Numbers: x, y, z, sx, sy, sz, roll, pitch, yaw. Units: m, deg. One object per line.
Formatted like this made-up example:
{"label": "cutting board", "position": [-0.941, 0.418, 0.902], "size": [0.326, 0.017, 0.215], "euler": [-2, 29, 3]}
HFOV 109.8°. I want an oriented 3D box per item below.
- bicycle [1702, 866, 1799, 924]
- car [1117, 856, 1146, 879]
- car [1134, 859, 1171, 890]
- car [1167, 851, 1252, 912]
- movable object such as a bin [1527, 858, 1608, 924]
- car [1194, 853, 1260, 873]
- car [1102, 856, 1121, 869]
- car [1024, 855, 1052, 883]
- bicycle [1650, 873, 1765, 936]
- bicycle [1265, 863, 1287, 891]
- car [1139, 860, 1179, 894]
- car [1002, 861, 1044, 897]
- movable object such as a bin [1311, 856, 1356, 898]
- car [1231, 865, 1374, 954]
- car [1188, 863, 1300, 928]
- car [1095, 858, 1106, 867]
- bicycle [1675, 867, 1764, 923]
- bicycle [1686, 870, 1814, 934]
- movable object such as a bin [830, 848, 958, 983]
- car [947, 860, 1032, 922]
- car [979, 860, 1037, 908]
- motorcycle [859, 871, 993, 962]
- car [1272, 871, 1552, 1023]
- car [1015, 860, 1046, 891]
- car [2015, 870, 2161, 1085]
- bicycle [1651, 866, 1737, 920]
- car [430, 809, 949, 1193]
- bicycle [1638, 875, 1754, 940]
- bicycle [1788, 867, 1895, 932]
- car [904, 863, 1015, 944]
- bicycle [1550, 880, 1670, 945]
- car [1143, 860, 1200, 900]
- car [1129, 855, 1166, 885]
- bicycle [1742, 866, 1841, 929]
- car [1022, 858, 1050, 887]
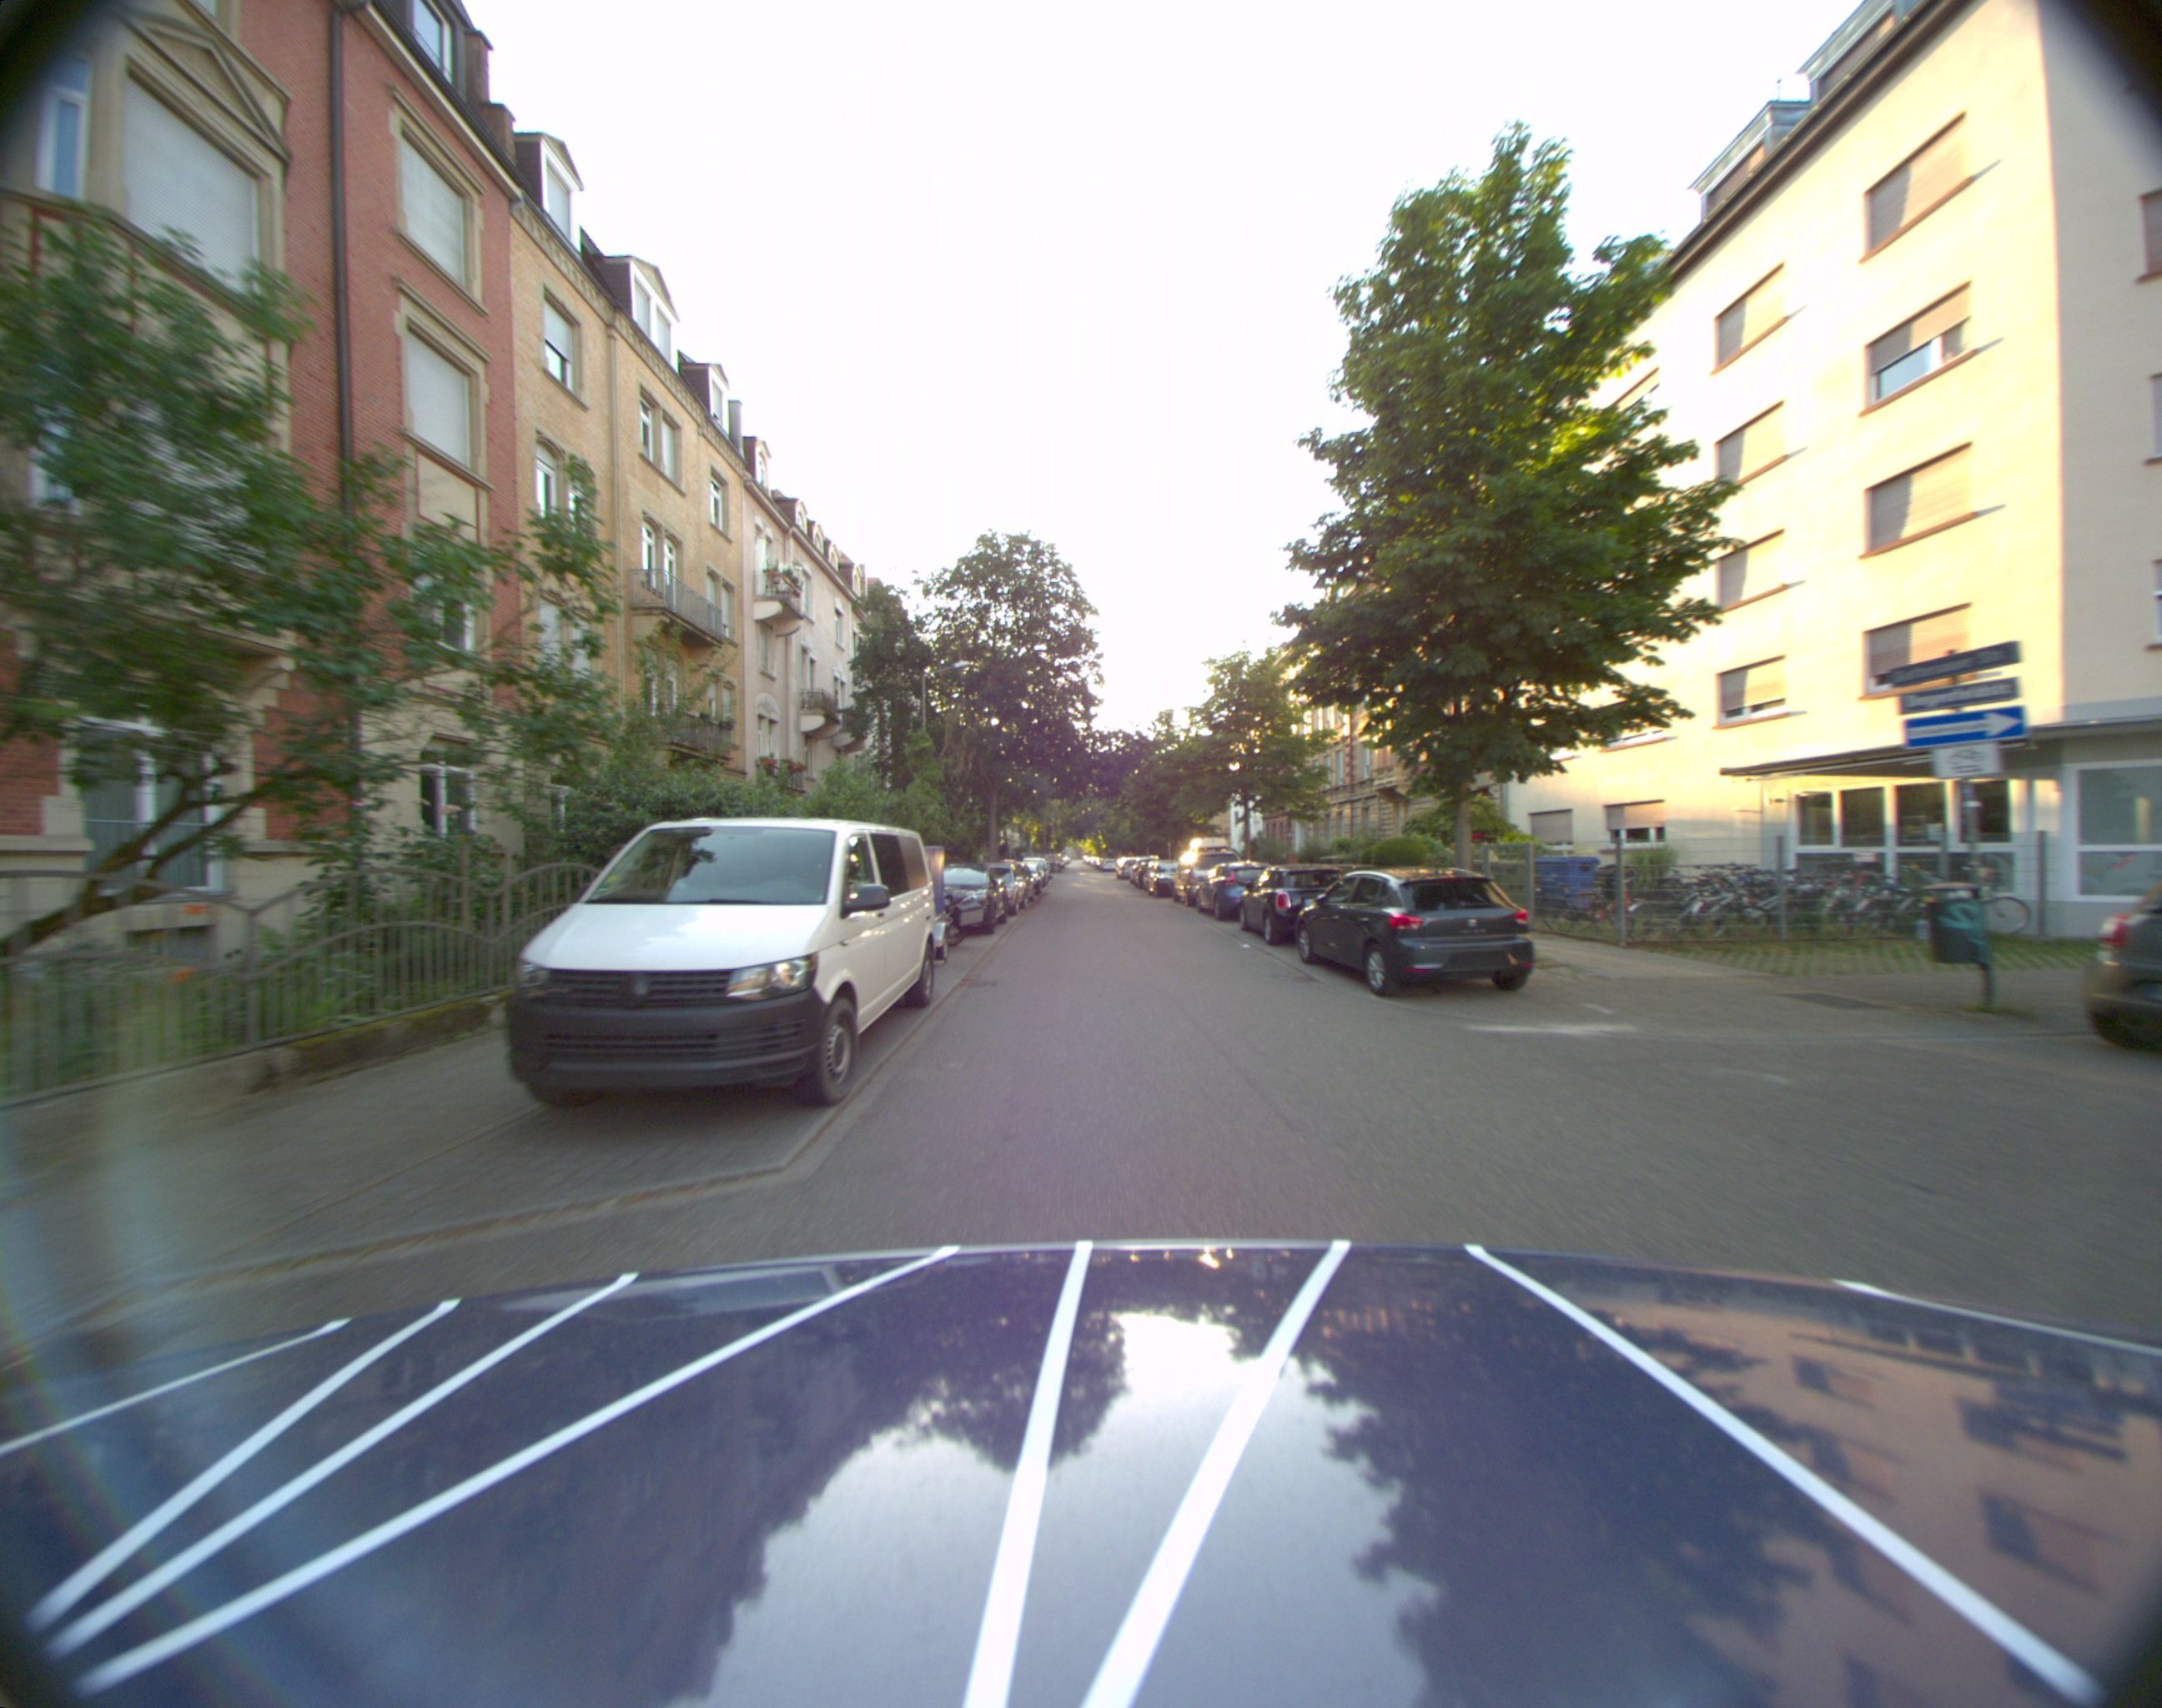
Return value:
{"label": "bicycle", "position": [13.674, 0.828, 15.523], "size": [1.635, 1.086, 0.500], "euler": [-2, 1, -6]}
{"label": "car", "position": [3.804, 0.973, 57.269], "size": [1.677, 1.627, 3.939], "euler": [-2, 0, -3]}
{"label": "car", "position": [3.754, 1.046, 40.228], "size": [1.682, 1.490, 3.625], "euler": [-2, 0, 2]}
{"label": "car", "position": [4.133, 0.815, 25.180], "size": [1.866, 1.769, 4.622], "euler": [-2, 0, -1]}
{"label": "movable object such as a bin", "position": [10.647, 0.791, 16.690], "size": [0.868, 1.344, 1.398], "euler": [-2, 1, 1]}
{"label": "car", "position": [10.524, 0.638, 54.805], "size": [4.413, 1.333, 1.625], "euler": [-2, 0, 0]}
{"label": "car", "position": [3.635, 0.974, 90.944], "size": [1.953, 1.484, 3.737], "euler": [-2, 0, -1]}
{"label": "car", "position": [-2.852, 0.960, 50.653], "size": [1.737, 1.692, 4.167], "euler": [-2, 0, -2]}
{"label": "bicycle", "position": [11.619, 0.902, 14.130], "size": [0.502, 1.086, 1.545], "euler": [-3, 1, -38]}
{"label": "bicycle", "position": [8.313, 0.965, 32.443], "size": [0.457, 1.103, 1.633], "euler": [-2, 0, 0]}
{"label": "car", "position": [3.682, 1.052, 36.211], "size": [1.441, 1.485, 3.297], "euler": [-2, 0, -2]}
{"label": "car", "position": [-2.636, 1.103, 35.422], "size": [1.737, 1.498, 4.163], "euler": [-2, 0, -2]}
{"label": "movable object such as a bin", "position": [8.895, 0.790, 26.802], "size": [0.948, 1.379, 1.551], "euler": [-2, 0, -4]}
{"label": "car", "position": [4.205, 0.984, 15.091], "size": [1.746, 1.412, 4.143], "euler": [-2, 0, 2]}
{"label": "car", "position": [4.178, 1.002, 20.247], "size": [1.866, 1.404, 4.589], "euler": [-2, 0, -1]}
{"label": "car", "position": [3.504, 1.552, 140.084], "size": [1.840, 1.484, 3.641], "euler": [-2, 0, -1]}
{"label": "bicycle", "position": [13.551, 0.856, 16.145], "size": [1.548, 1.086, 0.500], "euler": [-2, 1, -6]}
{"label": "bicycle", "position": [12.283, 0.855, 14.002], "size": [0.386, 1.086, 1.707], "euler": [-3, 1, -37]}
{"label": "movable object such as a bin", "position": [-2.800, 0.860, 11.757], "size": [1.415, 1.867, 2.324], "euler": [1, 1, -1]}
{"label": "car", "position": [-2.643, 1.022, 23.060], "size": [1.761, 1.573, 4.842], "euler": [-2, 0, 2]}
{"label": "car", "position": [-2.572, 1.029, 27.559], "size": [1.590, 1.516, 3.602], "euler": [-2, 0, 2]}
{"label": "motorcycle", "position": [-2.797, 1.063, 13.737], "size": [2.099, 1.474, 1.130], "euler": [1, 1, -34]}
{"label": "car", "position": [4.072, 1.029, 10.265], "size": [1.679, 1.453, 4.462], "euler": [-2, 0, -2]}
{"label": "car", "position": [-2.677, 1.102, 40.639], "size": [1.479, 1.498, 3.928], "euler": [-2, 0, -2]}
{"label": "car", "position": [9.475, 0.861, 5.360], "size": [3.515, 1.499, 1.845], "euler": [-1, 0, -1]}
{"label": "bicycle", "position": [13.490, 0.840, 16.723], "size": [1.548, 1.086, 0.500], "euler": [-2, 1, -6]}
{"label": "car", "position": [-2.550, 0.777, 6.790], "size": [1.866, 2.027, 5.543], "euler": [1, 0, -1]}
{"label": "bicycle", "position": [11.176, 0.941, 13.855], "size": [0.502, 1.086, 1.545], "euler": [-3, 1, -38]}
{"label": "bicycle", "position": [13.907, 0.825, 13.903], "size": [1.548, 1.086, 0.500], "euler": [-2, 1, -6]}
{"label": "car", "position": [-2.693, 1.044, 17.807], "size": [1.724, 1.542, 4.325], "euler": [-2, 0, 2]}
{"label": "bicycle", "position": [9.602, 1.023, 13.889], "size": [0.689, 1.019, 1.931], "euler": [-2, 0, -6]}
{"label": "car", "position": [3.671, 1.019, 31.494], "size": [1.733, 1.433, 4.023], "euler": [-2, 0, -2]}
{"label": "car", "position": [3.977, 0.948, 45.712], "size": [1.866, 1.653, 4.021], "euler": [-2, 0, 0]}
{"label": "bicycle", "position": [13.736, 0.829, 14.698], "size": [1.548, 1.134, 0.500], "euler": [-2, 1, -6]}
{"label": "car", "position": [-2.638, 1.070, 45.038], "size": [1.502, 1.538, 3.338], "euler": [-2, 0, -2]}
